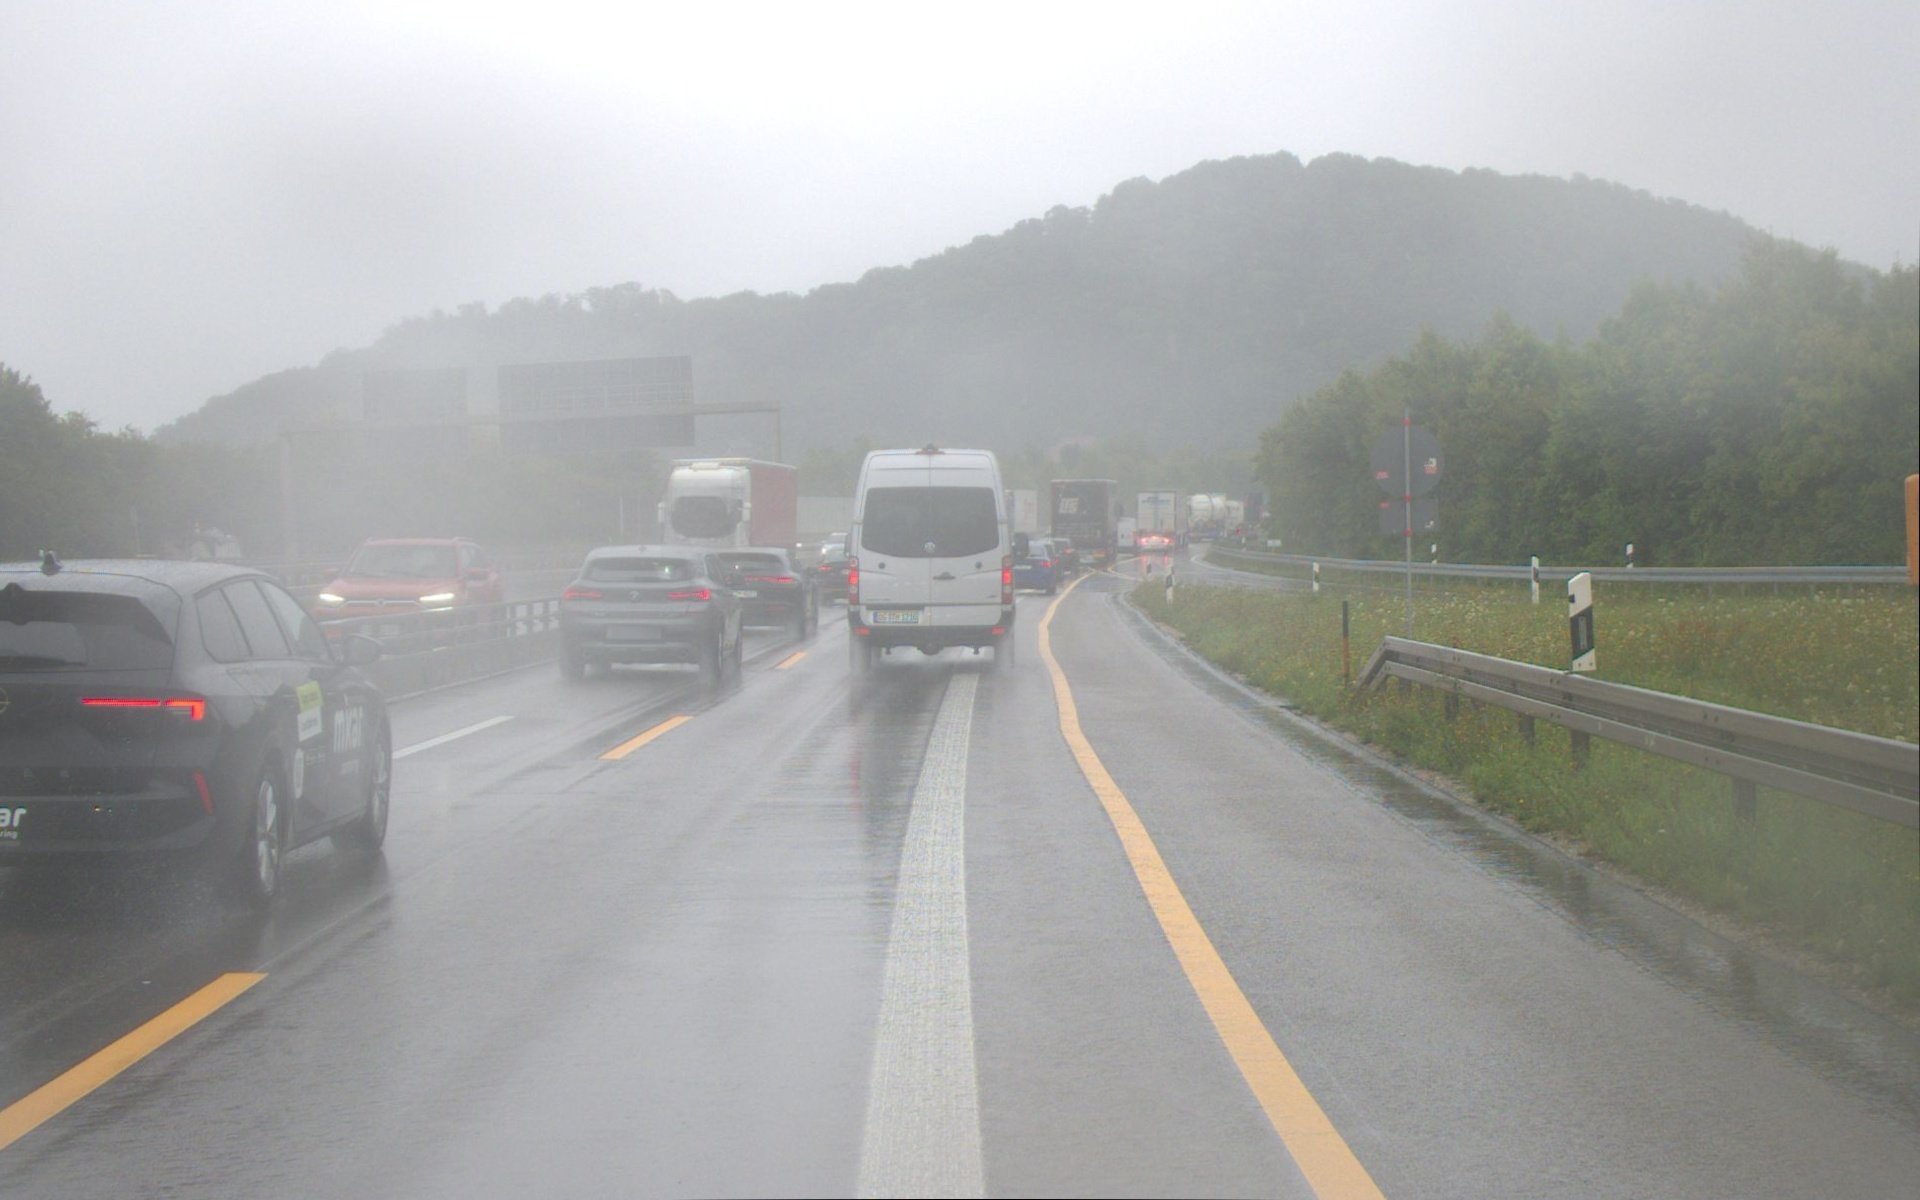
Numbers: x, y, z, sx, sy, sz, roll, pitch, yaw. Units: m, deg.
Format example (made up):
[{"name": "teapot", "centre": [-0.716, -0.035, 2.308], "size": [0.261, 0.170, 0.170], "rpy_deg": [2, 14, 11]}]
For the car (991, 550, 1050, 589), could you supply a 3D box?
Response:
[{"name": "car", "centre": [1.654, -0.849, 94.875], "size": [1.384, 1.074, 3.123], "rpy_deg": [0, 1, -4]}]

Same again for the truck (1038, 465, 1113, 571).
[{"name": "truck", "centre": [5.473, -3.767, 161.189], "size": [3.321, 4.768, 9.906], "rpy_deg": [1, 1, 2]}]

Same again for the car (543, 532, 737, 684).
[{"name": "car", "centre": [-3.627, 0.057, 39.606], "size": [1.867, 1.653, 3.988], "rpy_deg": [0, 1, 0]}]

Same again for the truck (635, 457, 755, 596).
[{"name": "truck", "centre": [-8.455, -2.332, 110.586], "size": [3.008, 4.257, 6.800], "rpy_deg": [-1, 1, 2]}]

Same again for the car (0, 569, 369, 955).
[{"name": "car", "centre": [-3.954, 0.594, 15.386], "size": [1.938, 1.422, 4.761], "rpy_deg": [0, 1, -2]}]

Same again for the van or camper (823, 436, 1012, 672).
[{"name": "van or camper", "centre": [-0.460, -0.564, 41.913], "size": [2.139, 2.712, 4.648], "rpy_deg": [0, 1, 1]}]

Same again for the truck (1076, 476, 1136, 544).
[{"name": "truck", "centre": [8.446, -5.160, 198.695], "size": [3.321, 3.749, 9.906], "rpy_deg": [1, 1, 2]}]

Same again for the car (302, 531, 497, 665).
[{"name": "car", "centre": [-7.038, -0.049, 43.550], "size": [1.802, 1.588, 4.184], "rpy_deg": [1, 1, -1]}]

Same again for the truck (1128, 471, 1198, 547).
[{"name": "truck", "centre": [13.486, -5.966, 227.841], "size": [3.929, 4.768, 9.904], "rpy_deg": [1, 1, 7]}]

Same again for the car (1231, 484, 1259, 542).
[{"name": "car", "centre": [20.858, -6.329, 251.567], "size": [2.058, 4.177, 6.745], "rpy_deg": [0, 1, 5]}]

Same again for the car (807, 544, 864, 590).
[{"name": "car", "centre": [-2.920, -0.786, 81.039], "size": [1.262, 1.074, 3.255], "rpy_deg": [0, 1, -1]}]

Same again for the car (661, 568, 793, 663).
[{"name": "car", "centre": [-3.823, 0.227, 56.933], "size": [1.852, 1.495, 4.000], "rpy_deg": [0, 1, 1]}]
